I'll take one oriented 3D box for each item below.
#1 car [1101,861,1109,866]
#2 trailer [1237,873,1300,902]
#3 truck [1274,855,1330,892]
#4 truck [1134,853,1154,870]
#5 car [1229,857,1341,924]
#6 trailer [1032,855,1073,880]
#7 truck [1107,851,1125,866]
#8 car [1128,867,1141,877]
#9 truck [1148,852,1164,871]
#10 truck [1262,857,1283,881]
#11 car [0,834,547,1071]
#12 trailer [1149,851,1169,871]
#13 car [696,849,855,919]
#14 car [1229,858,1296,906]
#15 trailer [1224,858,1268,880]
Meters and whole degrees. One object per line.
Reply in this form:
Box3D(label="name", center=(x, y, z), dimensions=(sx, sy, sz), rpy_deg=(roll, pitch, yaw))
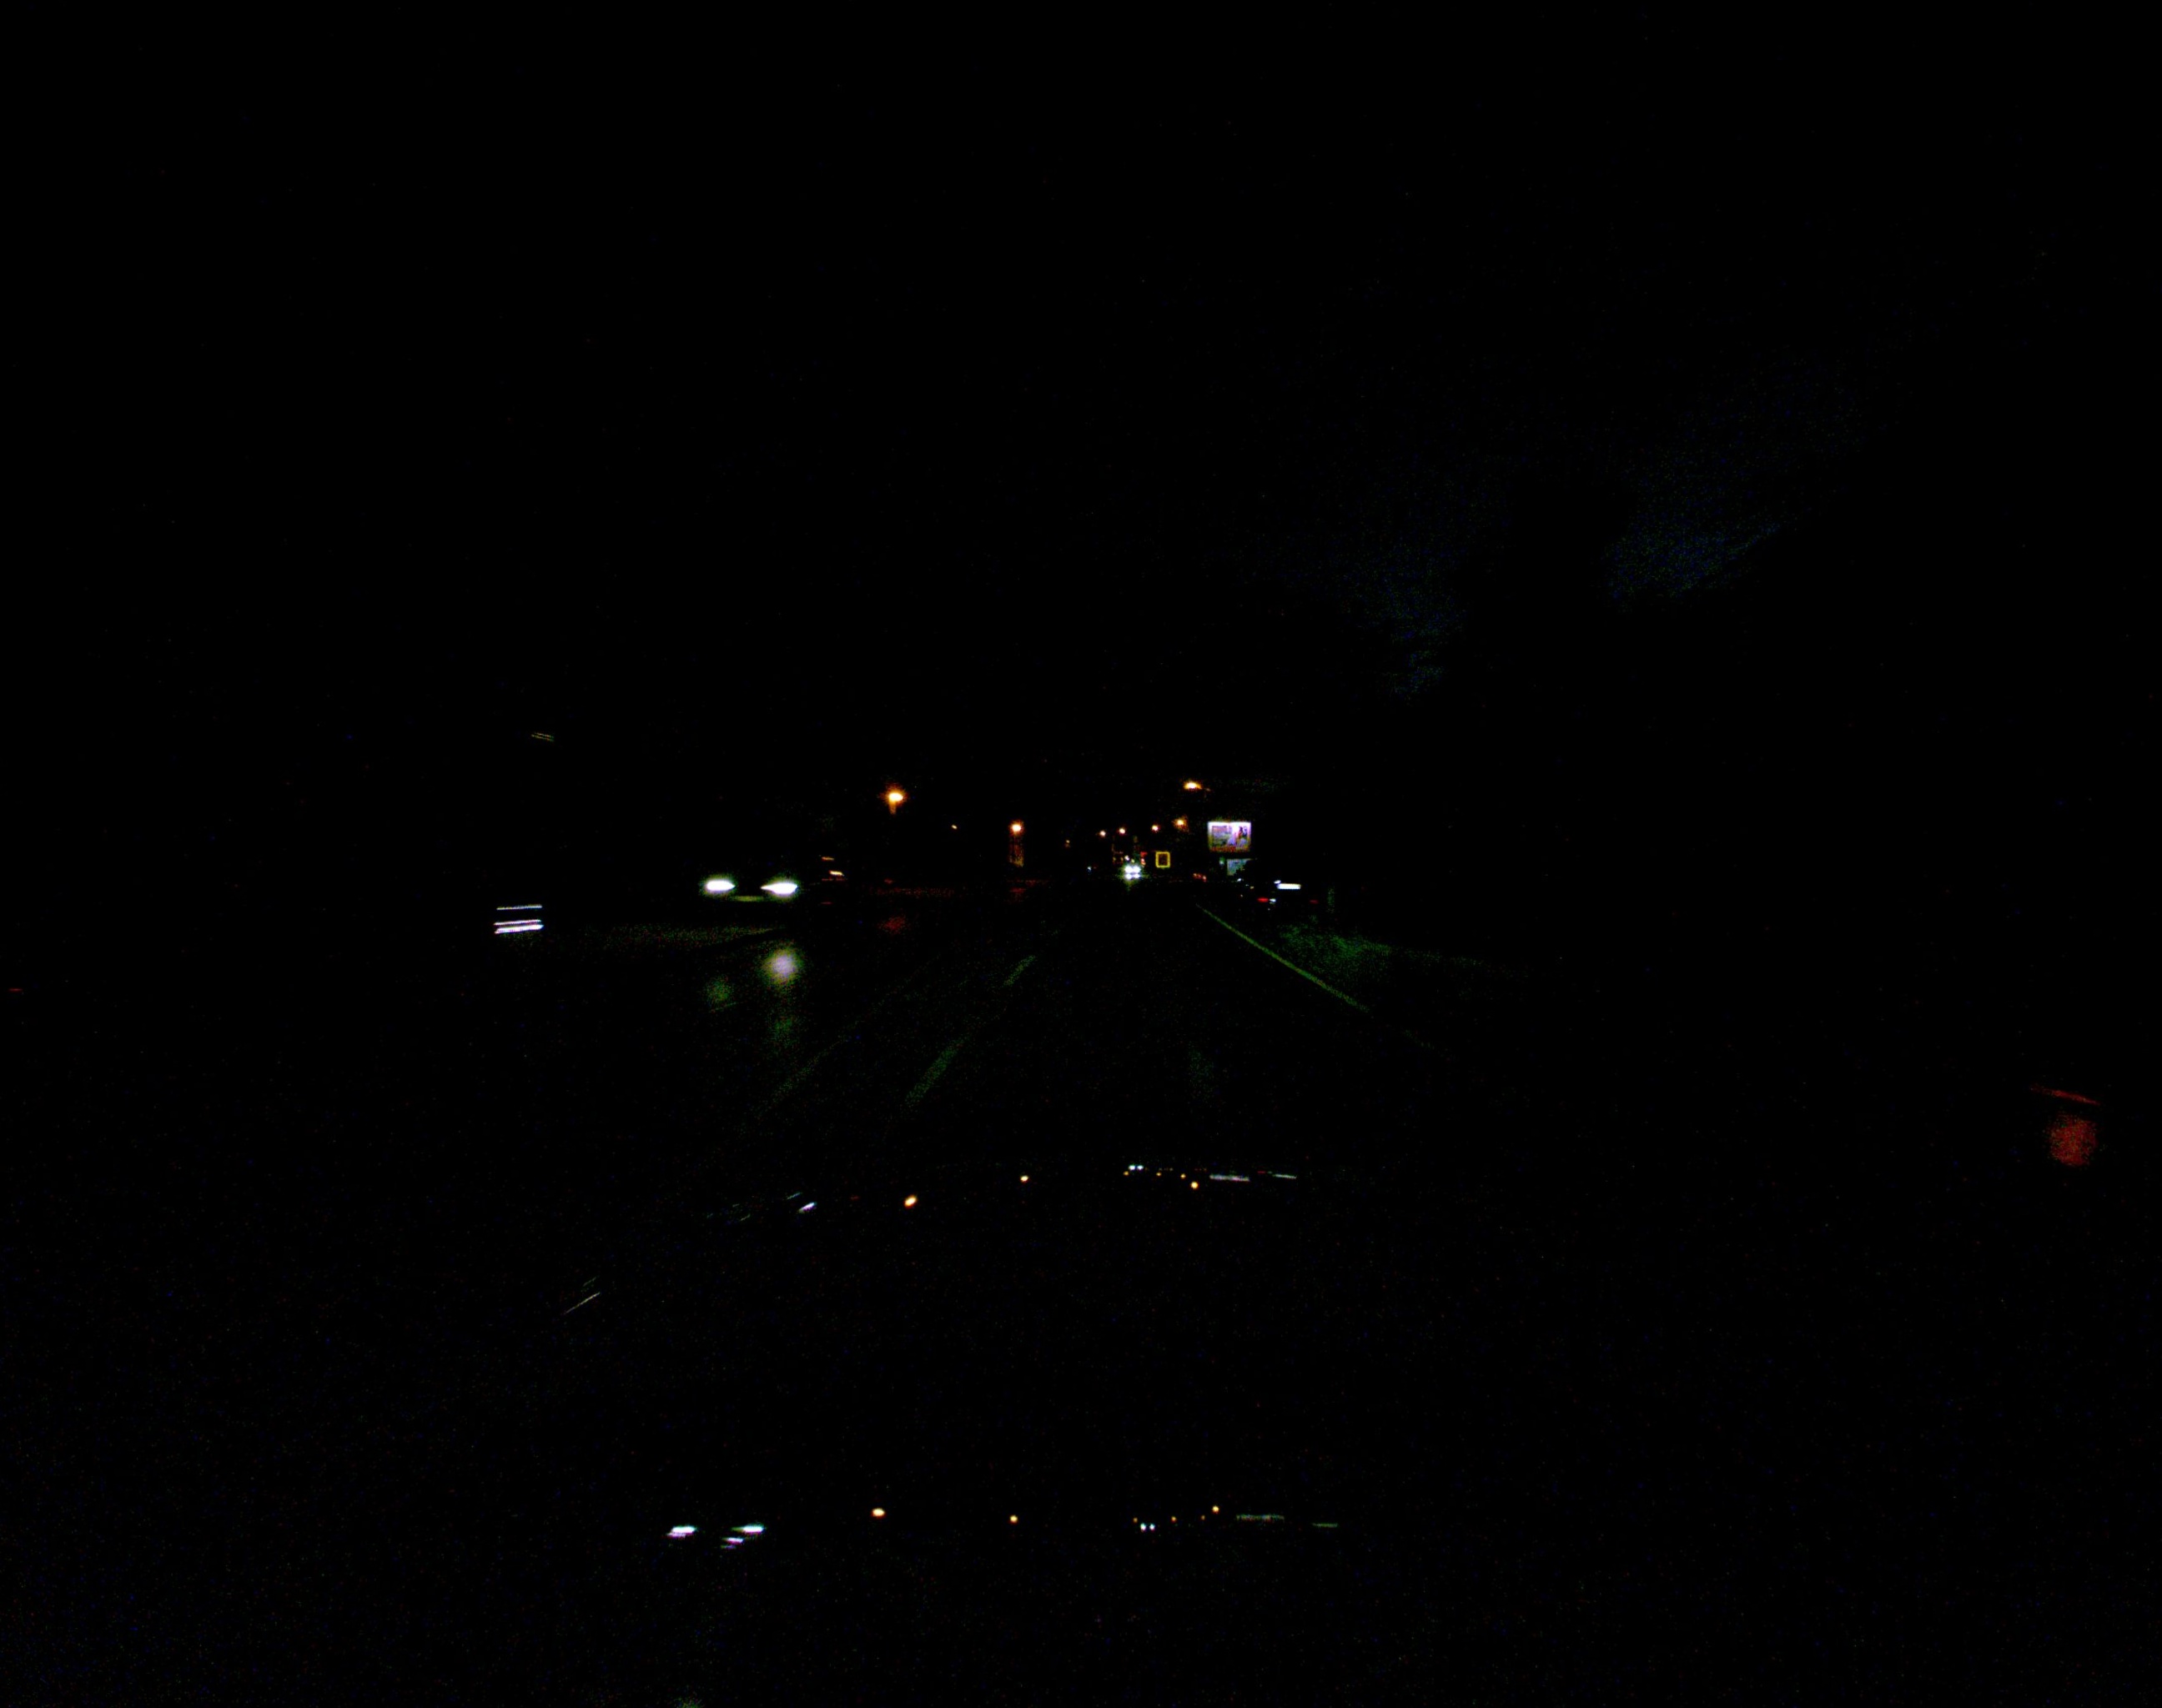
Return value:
Box3D(label="car", center=(6.987, 2.864, 238.954), dimensions=(1.852, 1.519, 3.806), rpy_deg=(0, -1, -9))
Box3D(label="trailer", center=(8.607, 1.485, 38.245), dimensions=(2.161, 0.967, 9.638), rpy_deg=(2, 0, 9))
Box3D(label="truck", center=(14.671, 1.286, 54.589), dimensions=(2.365, 2.284, 7.756), rpy_deg=(1, -1, 6))
Box3D(label="truck", center=(14.632, 1.724, 190.461), dimensions=(2.827, 3.983, 10.318), rpy_deg=(0, -1, -6))
Box3D(label="car", center=(5.233, 0.871, 21.500), dimensions=(1.986, 1.552, 4.328), rpy_deg=(2, 0, 2))
Box3D(label="trailer", center=(-3.209, 1.543, 92.544), dimensions=(4.326, 2.720, 2.003), rpy_deg=(0, -1, 6))
Box3D(label="truck", center=(9.613, 1.227, 223.708), dimensions=(3.515, 3.983, 10.322), rpy_deg=(0, -1, -5))
Box3D(label="car", center=(9.657, 3.255, 146.381), dimensions=(1.983, 1.627, 4.760), rpy_deg=(1, -1, 6))
Box3D(label="truck", center=(16.486, 1.625, 179.699), dimensions=(2.822, 3.983, 6.047), rpy_deg=(0, -1, -1))
Box3D(label="truck", center=(23.378, 1.859, 99.525), dimensions=(2.169, 2.748, 7.336), rpy_deg=(2, -1, 11))
Box3D(label="car", center=(-7.094, 0.583, 7.027), dimensions=(1.988, 1.380, 4.594), rpy_deg=(1, -1, -2))
Box3D(label="trailer", center=(16.528, 1.528, 173.219), dimensions=(2.800, 3.983, 13.968), rpy_deg=(0, 0, -1))
Box3D(label="car", center=(-7.177, 0.679, 19.791), dimensions=(1.842, 1.445, 4.917), rpy_deg=(1, -1, 1))
Box3D(label="car", center=(6.444, 0.977, 29.285), dimensions=(1.924, 1.552, 4.007), rpy_deg=(1, -1, 6))
Box3D(label="trailer", center=(15.454, 1.393, 76.458), dimensions=(3.711, 2.014, 1.624), rpy_deg=(-1, -1, 31))
